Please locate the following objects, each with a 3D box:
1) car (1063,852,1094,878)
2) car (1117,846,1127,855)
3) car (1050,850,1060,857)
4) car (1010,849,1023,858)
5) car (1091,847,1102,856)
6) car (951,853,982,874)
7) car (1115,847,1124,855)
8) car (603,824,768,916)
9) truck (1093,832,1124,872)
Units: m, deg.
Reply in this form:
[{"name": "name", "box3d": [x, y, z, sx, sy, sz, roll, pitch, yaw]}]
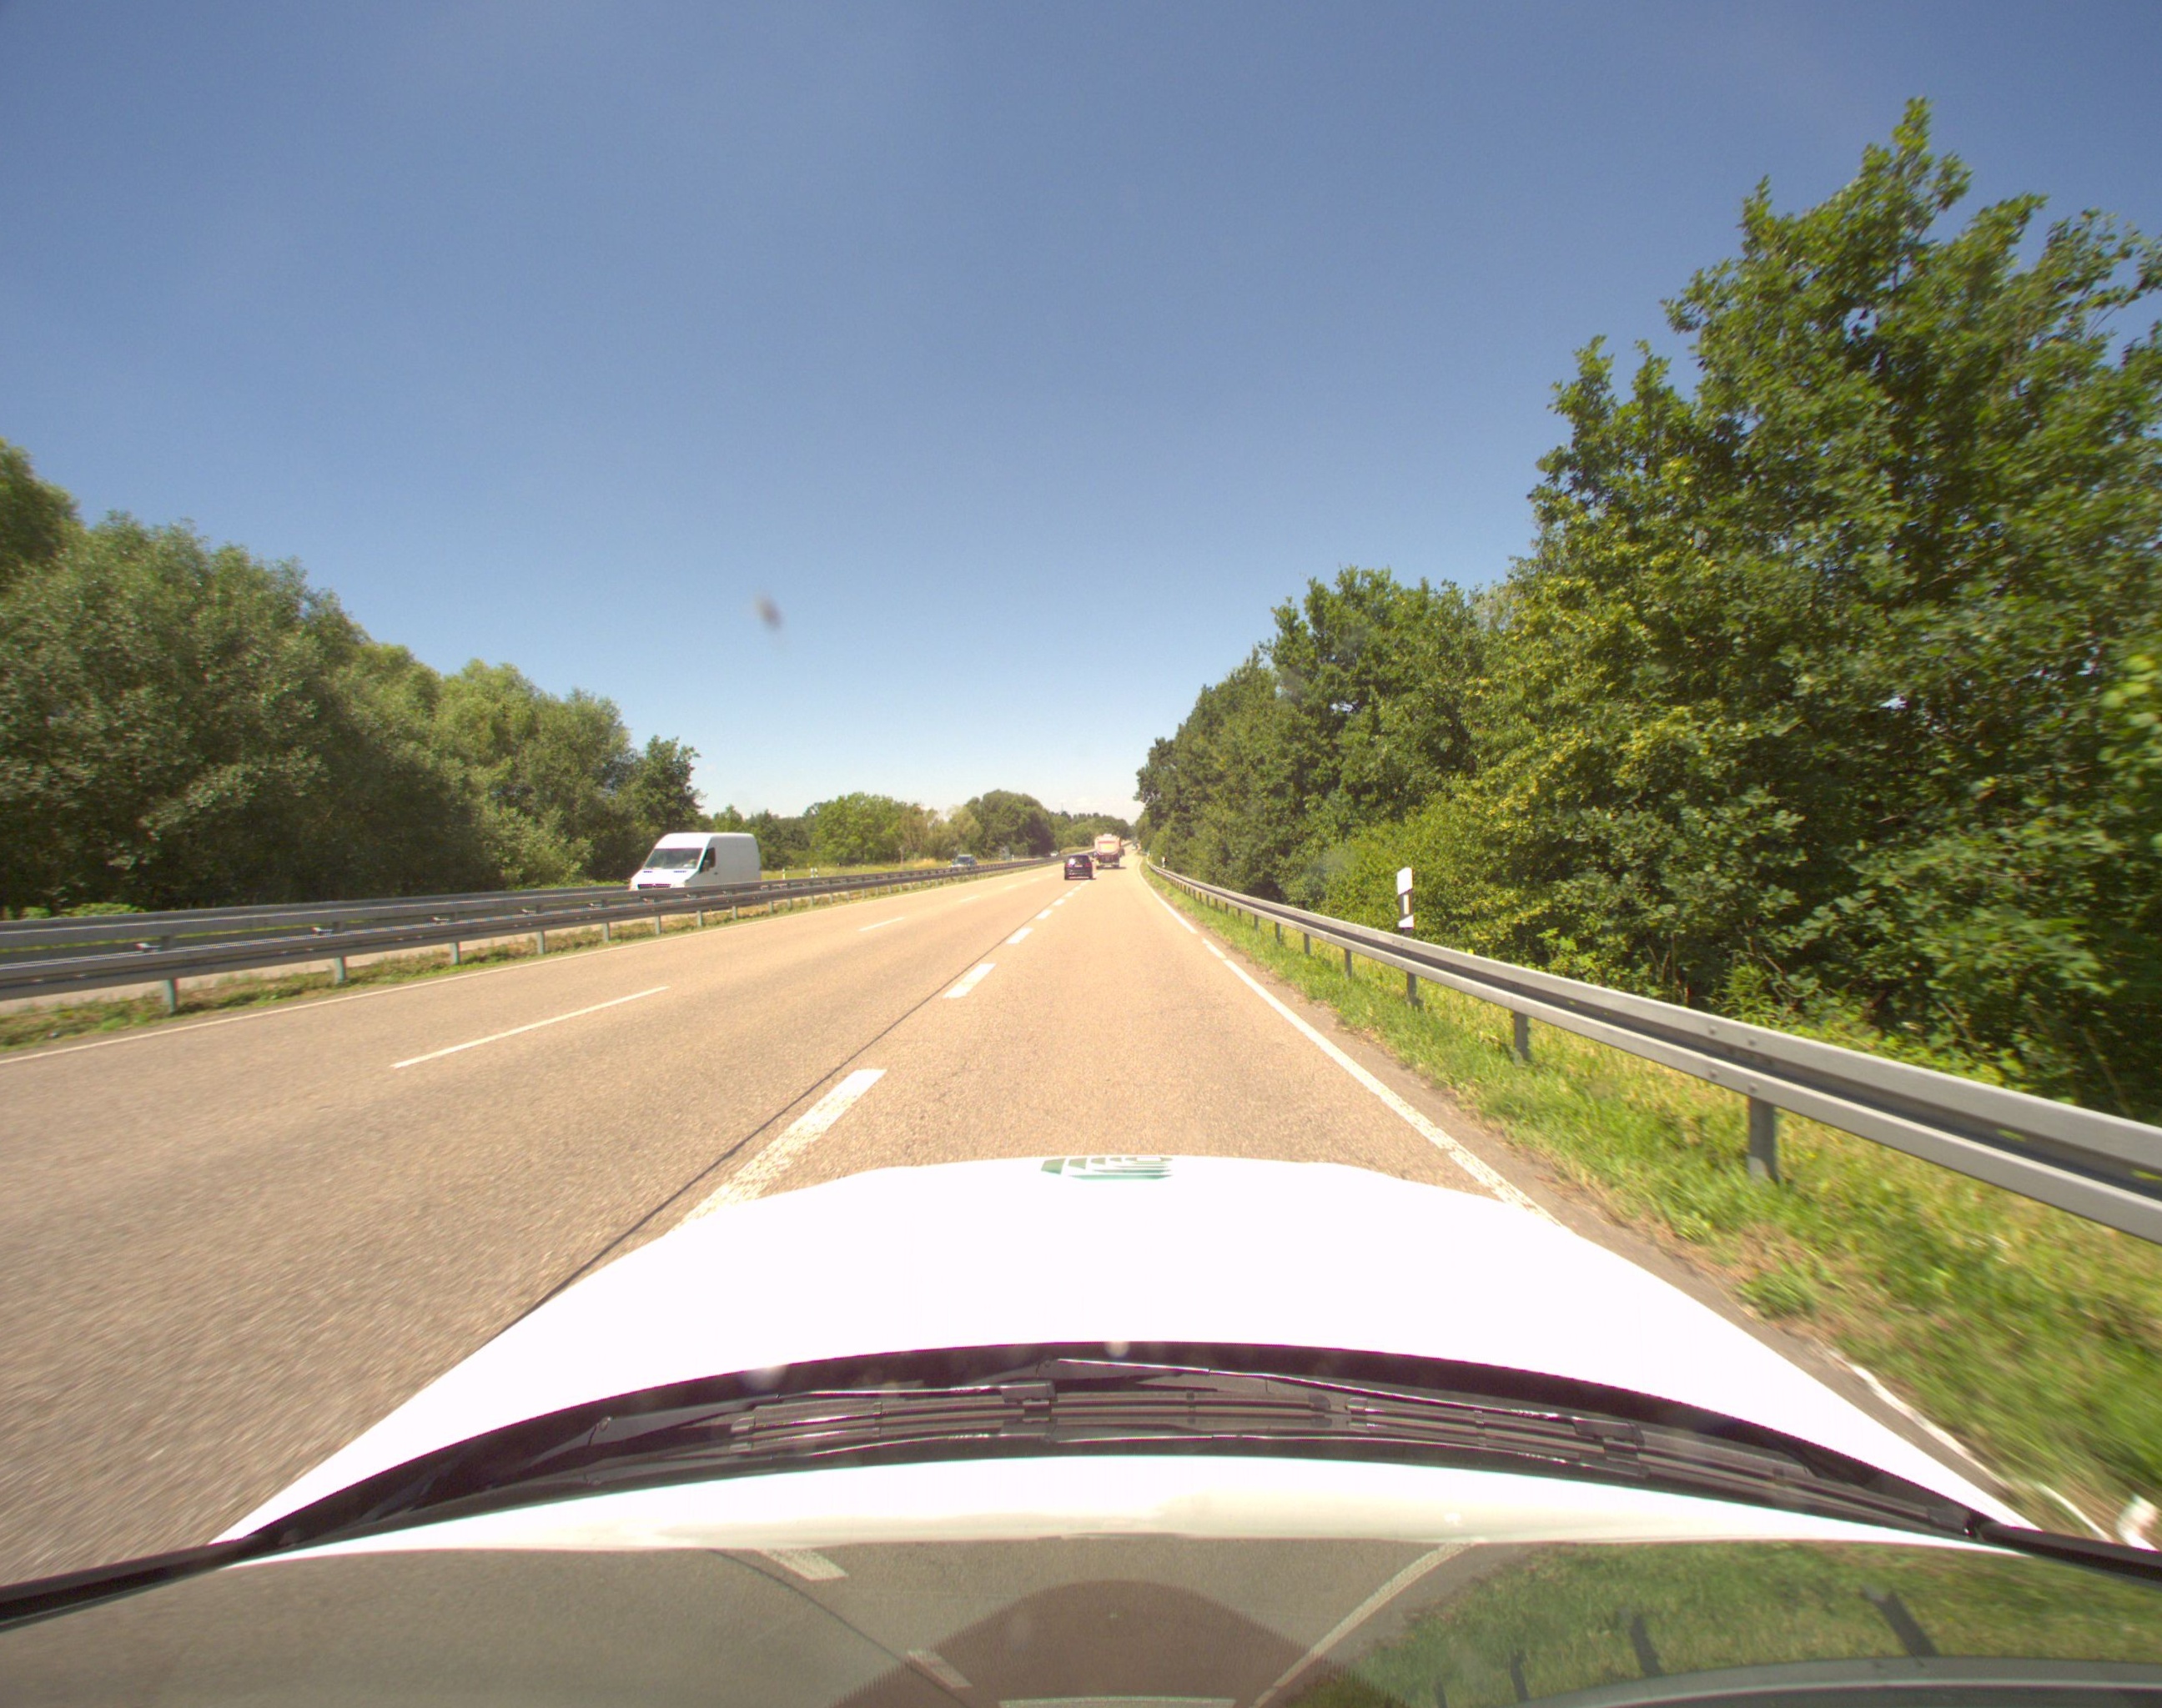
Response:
[{"name": "car", "box3d": [-0.145, 0.722, 55.298, 1.850, 1.671, 4.002, -1, 0, 2]}, {"name": "car", "box3d": [8.405, -0.684, 166.457, 1.849, 1.671, 4.005, -1, 0, 5]}, {"name": "car", "box3d": [-6.469, -0.122, 203.511, 1.716, 1.645, 4.949, -1, 1, 5]}, {"name": "car", "box3d": [-11.640, -0.114, 147.149, 1.912, 1.489, 3.998, -1, 0, -1]}, {"name": "car", "box3d": [3.162, -0.478, 163.502, 1.849, 1.671, 4.005, -1, 0, 5]}, {"name": "car", "box3d": [-10.263, 0.851, 73.505, 1.855, 1.830, 4.664, -1, 0, 3]}, {"name": "car", "box3d": [8.620, -0.665, 183.307, 1.849, 1.671, 4.005, -1, 0, 5]}, {"name": "car", "box3d": [-13.099, 0.491, 27.626, 2.094, 2.683, 6.631, -1, 0, 2]}, {"name": "truck", "box3d": [3.115, -0.372, 89.342, 2.707, 3.929, 12.388, -2, 1, 5]}]
